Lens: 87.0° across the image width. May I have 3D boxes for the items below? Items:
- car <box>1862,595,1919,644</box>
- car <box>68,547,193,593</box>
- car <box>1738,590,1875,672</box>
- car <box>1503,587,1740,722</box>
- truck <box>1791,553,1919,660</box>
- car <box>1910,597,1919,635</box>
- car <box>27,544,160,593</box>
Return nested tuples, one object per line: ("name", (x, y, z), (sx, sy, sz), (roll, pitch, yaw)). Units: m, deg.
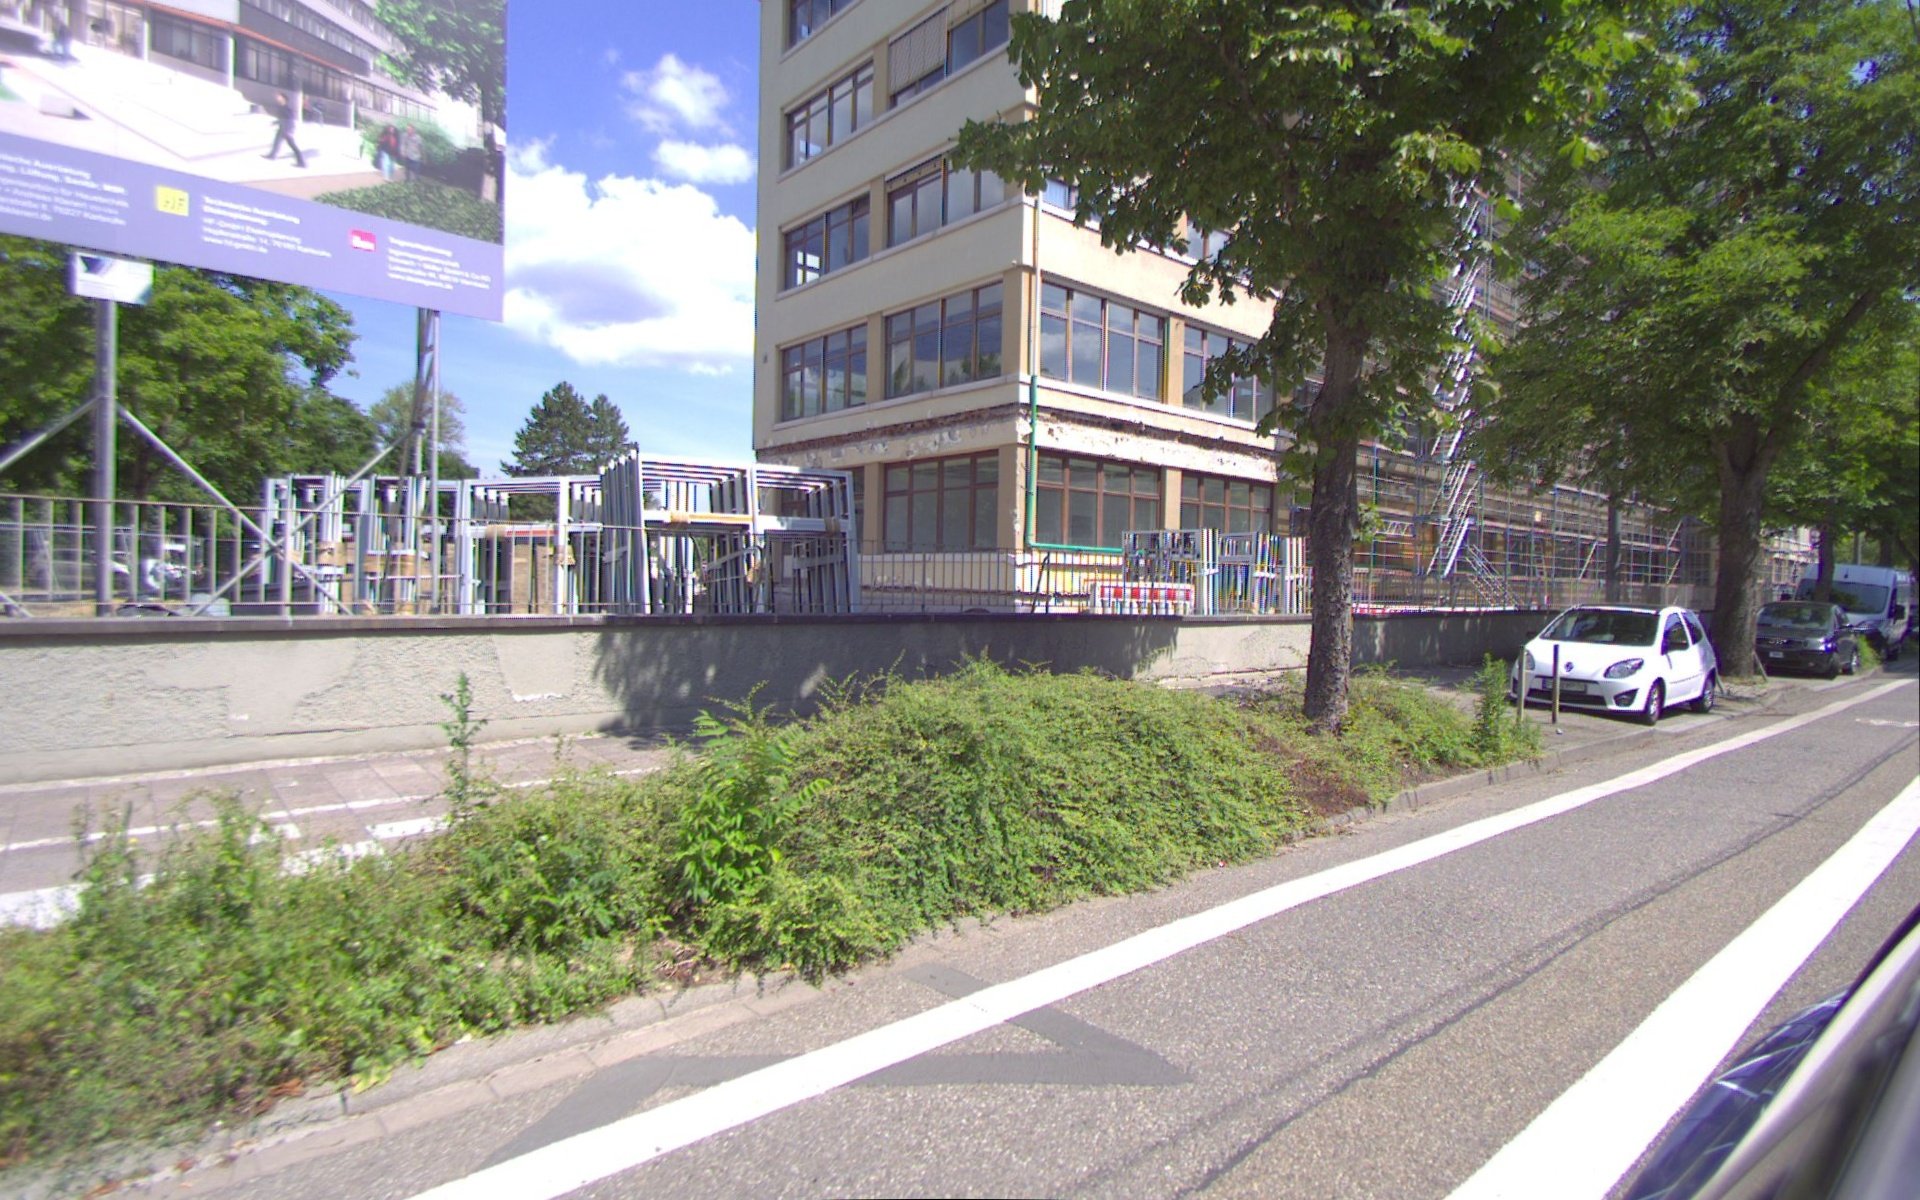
("car", (31.431, 0.621, 33.342), (4.320, 1.490, 1.829), (0, 1, -39))
("car", (-38.030, -1.345, 46.500), (3.916, 2.039, 2.004), (0, 0, -14))
("car", (18.028, 0.596, 21.497), (3.878, 1.553, 1.647), (0, 1, -42))
("car", (9.021, 0.646, 13.708), (3.717, 1.553, 1.648), (0, 1, -40))
("truck", (23.679, 0.134, 26.532), (5.853, 2.520, 2.018), (0, 1, -42))
("car", (39.538, 0.649, 40.375), (4.406, 1.490, 1.828), (0, 1, -40))
("car", (-37.739, -1.337, 44.167), (3.916, 2.039, 2.004), (0, 0, -14))
